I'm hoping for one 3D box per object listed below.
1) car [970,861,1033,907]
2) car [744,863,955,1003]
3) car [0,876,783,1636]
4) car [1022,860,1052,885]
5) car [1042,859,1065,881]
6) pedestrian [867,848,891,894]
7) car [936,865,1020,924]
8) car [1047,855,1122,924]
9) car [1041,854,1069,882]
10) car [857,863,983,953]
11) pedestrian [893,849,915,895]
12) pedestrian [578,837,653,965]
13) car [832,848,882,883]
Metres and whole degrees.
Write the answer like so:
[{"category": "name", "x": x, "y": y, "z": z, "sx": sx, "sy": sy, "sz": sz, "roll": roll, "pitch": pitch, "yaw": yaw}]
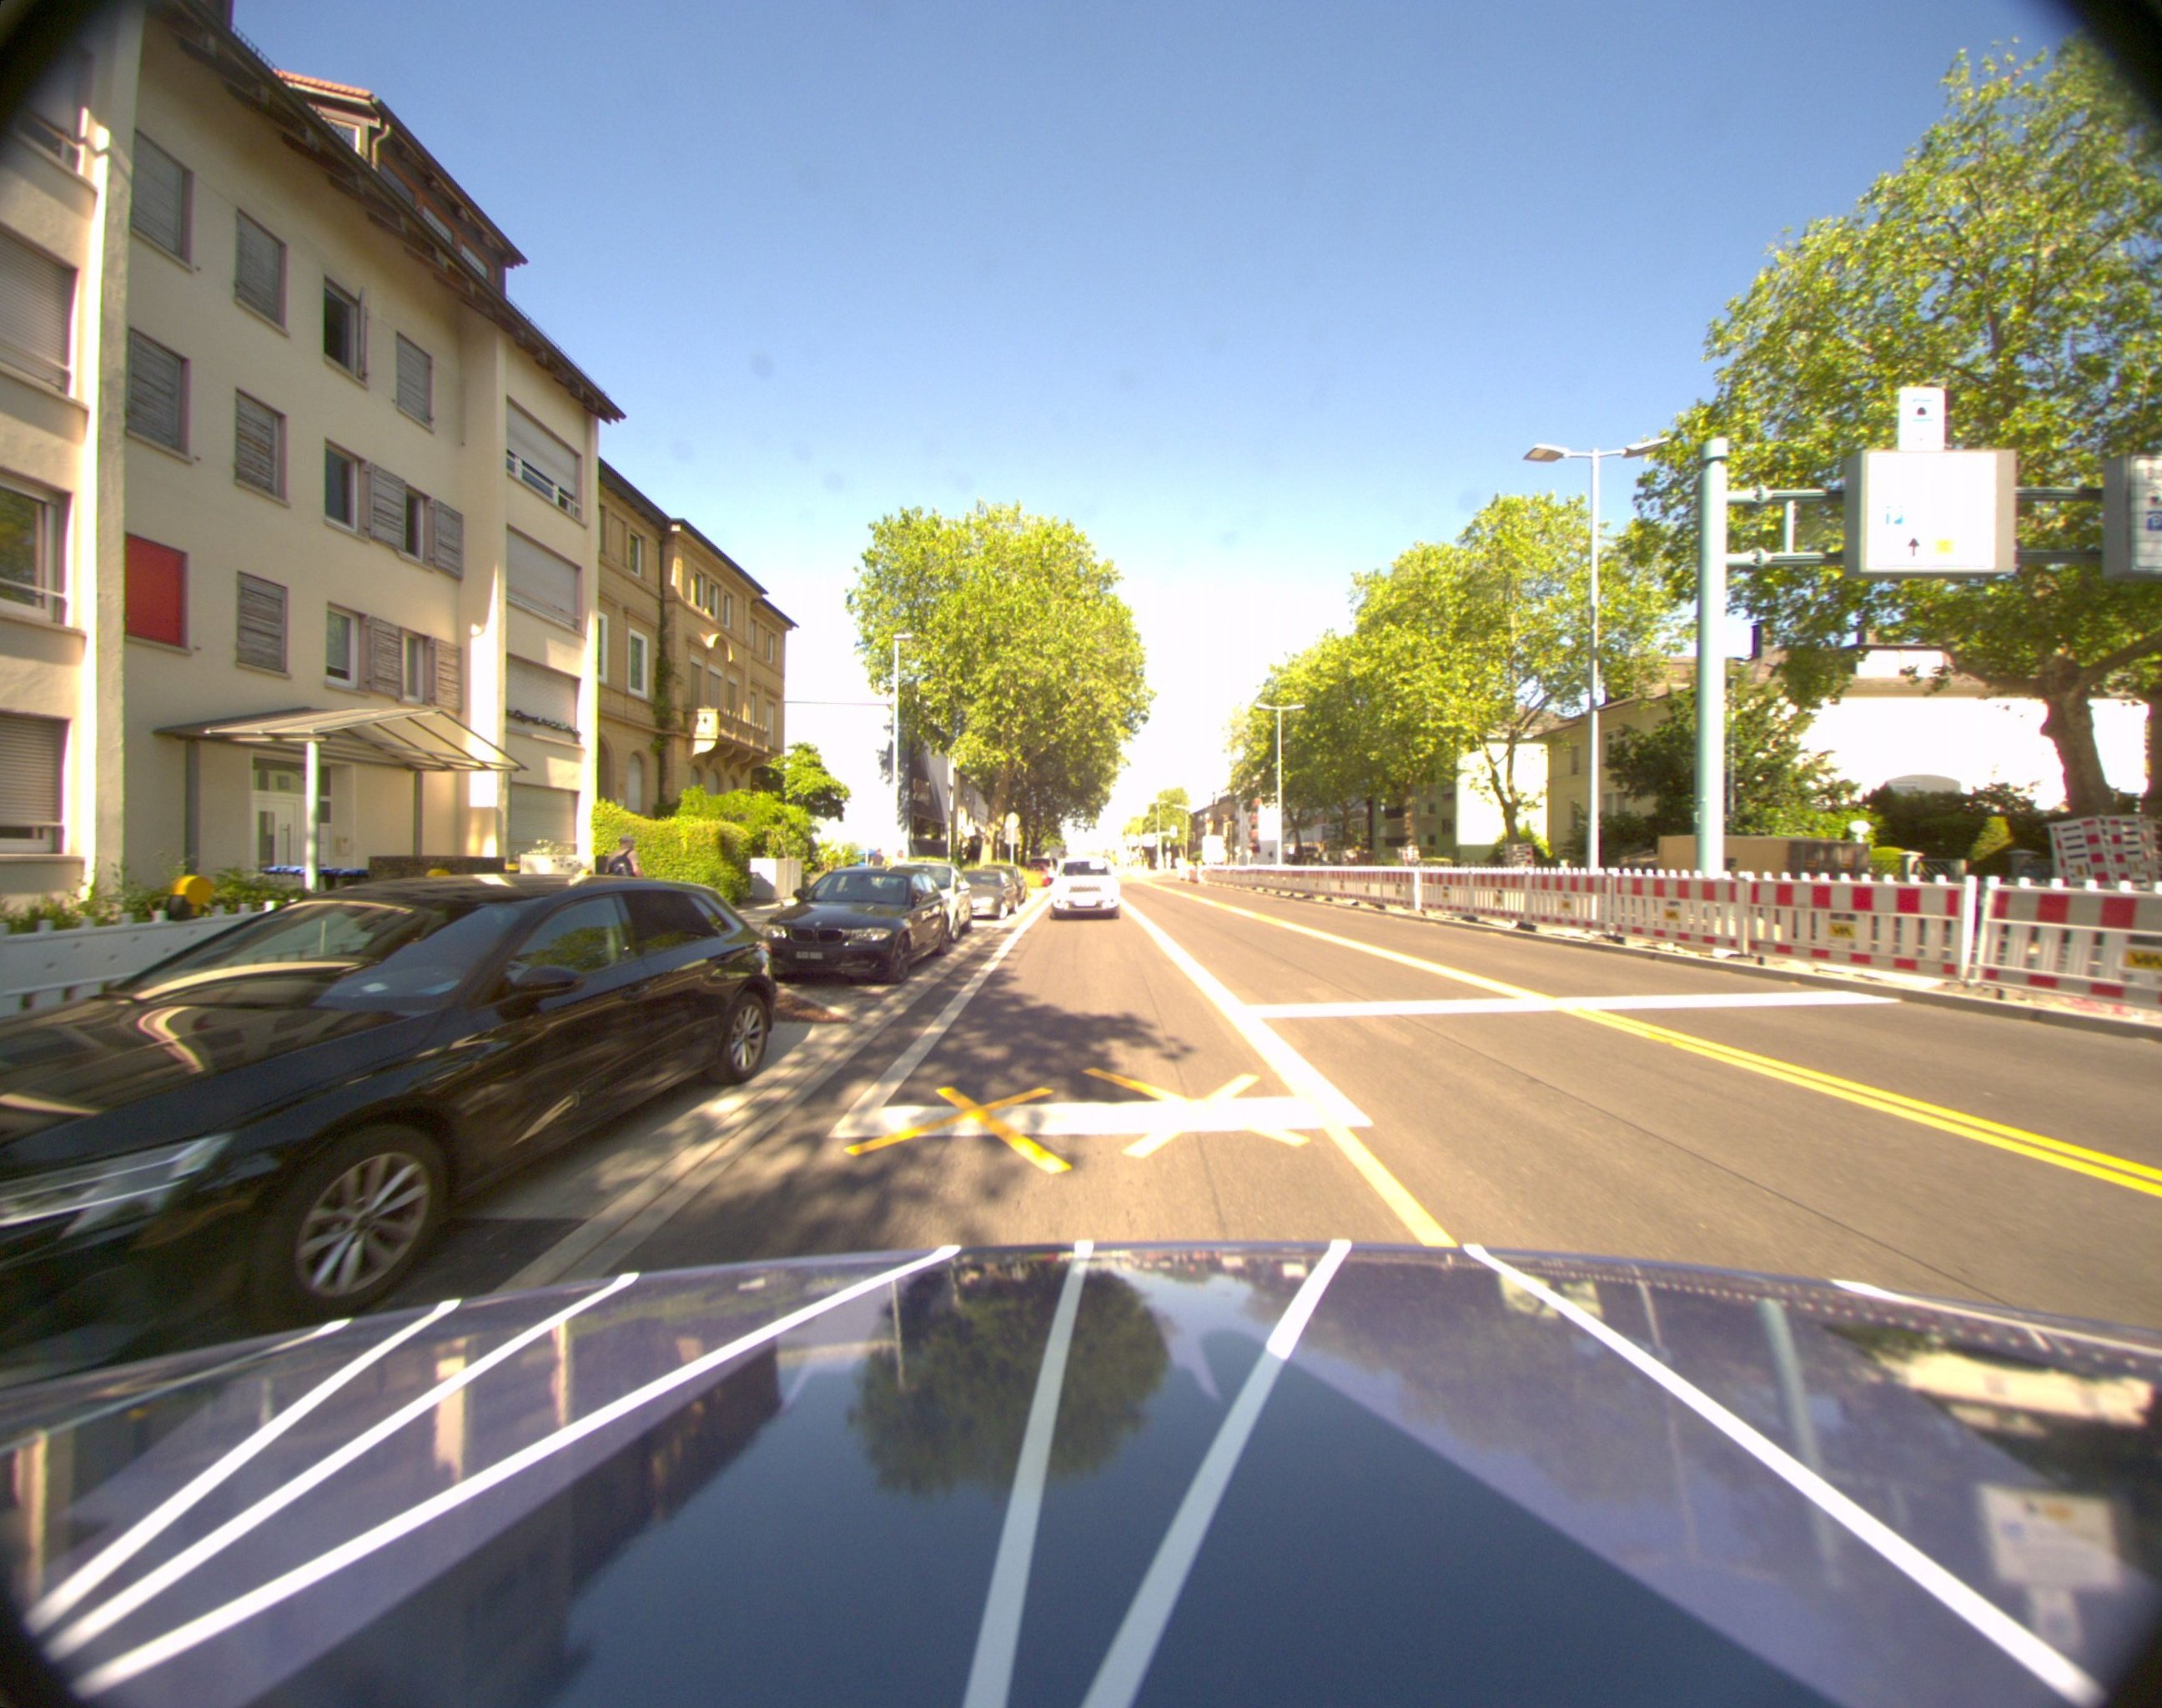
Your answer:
[{"category": "car", "x": -2.819, "y": 1.033, "z": 27.779, "sx": 1.720, "sy": 1.404, "sz": 4.476, "roll": 3, "pitch": 0, "yaw": 0}, {"category": "car", "x": -2.923, "y": 0.906, "z": 10.514, "sx": 1.624, "sy": 1.477, "sz": 4.057, "roll": 2, "pitch": 0, "yaw": 0}, {"category": "car", "x": -3.090, "y": 0.921, "z": 3.674, "sx": 1.624, "sy": 1.477, "sz": 4.097, "roll": 2, "pitch": 0, "yaw": 0}, {"category": "car", "x": -2.779, "y": 1.127, "z": 48.463, "sx": 1.674, "sy": 1.508, "sz": 3.998, "roll": 1, "pitch": 0, "yaw": 0}, {"category": "car", "x": -2.184, "y": 1.250, "z": 61.113, "sx": 1.631, "sy": 1.625, "sz": 4.220, "roll": 1, "pitch": 0, "yaw": 0}, {"category": "pedestrian", "x": -7.968, "y": 0.657, "z": 30.021, "sx": 0.698, "sy": 1.785, "sz": 0.802, "roll": 1, "pitch": 0, "yaw": 0}, {"category": "car", "x": -2.746, "y": 1.048, "z": 21.134, "sx": 1.720, "sy": 1.404, "sz": 4.048, "roll": 2, "pitch": 0, "yaw": 0}, {"category": "car", "x": 0.104, "y": 0.920, "z": 21.641, "sx": 1.868, "sy": 1.716, "sz": 4.507, "roll": -1, "pitch": 0, "yaw": 0}, {"category": "car", "x": -1.808, "y": 0.970, "z": 54.328, "sx": 1.753, "sy": 1.954, "sz": 4.507, "roll": 1, "pitch": 0, "yaw": 0}, {"category": "car", "x": -3.038, "y": 0.953, "z": 15.048, "sx": 1.624, "sy": 1.477, "sz": 3.734, "roll": 2, "pitch": 0, "yaw": 0}, {"category": "pedestrian", "x": -6.983, "y": 0.705, "z": 29.950, "sx": 0.698, "sy": 1.785, "sz": 0.715, "roll": 1, "pitch": 0, "yaw": 0}, {"category": "pedestrian", "x": -6.920, "y": 0.681, "z": 11.316, "sx": 0.666, "sy": 1.838, "sz": 0.694, "roll": 1, "pitch": 0, "yaw": 0}, {"category": "car", "x": -12.219, "y": 0.573, "z": 41.281, "sx": 1.803, "sy": 1.811, "sz": 3.990, "roll": 0, "pitch": 0, "yaw": -29}]
